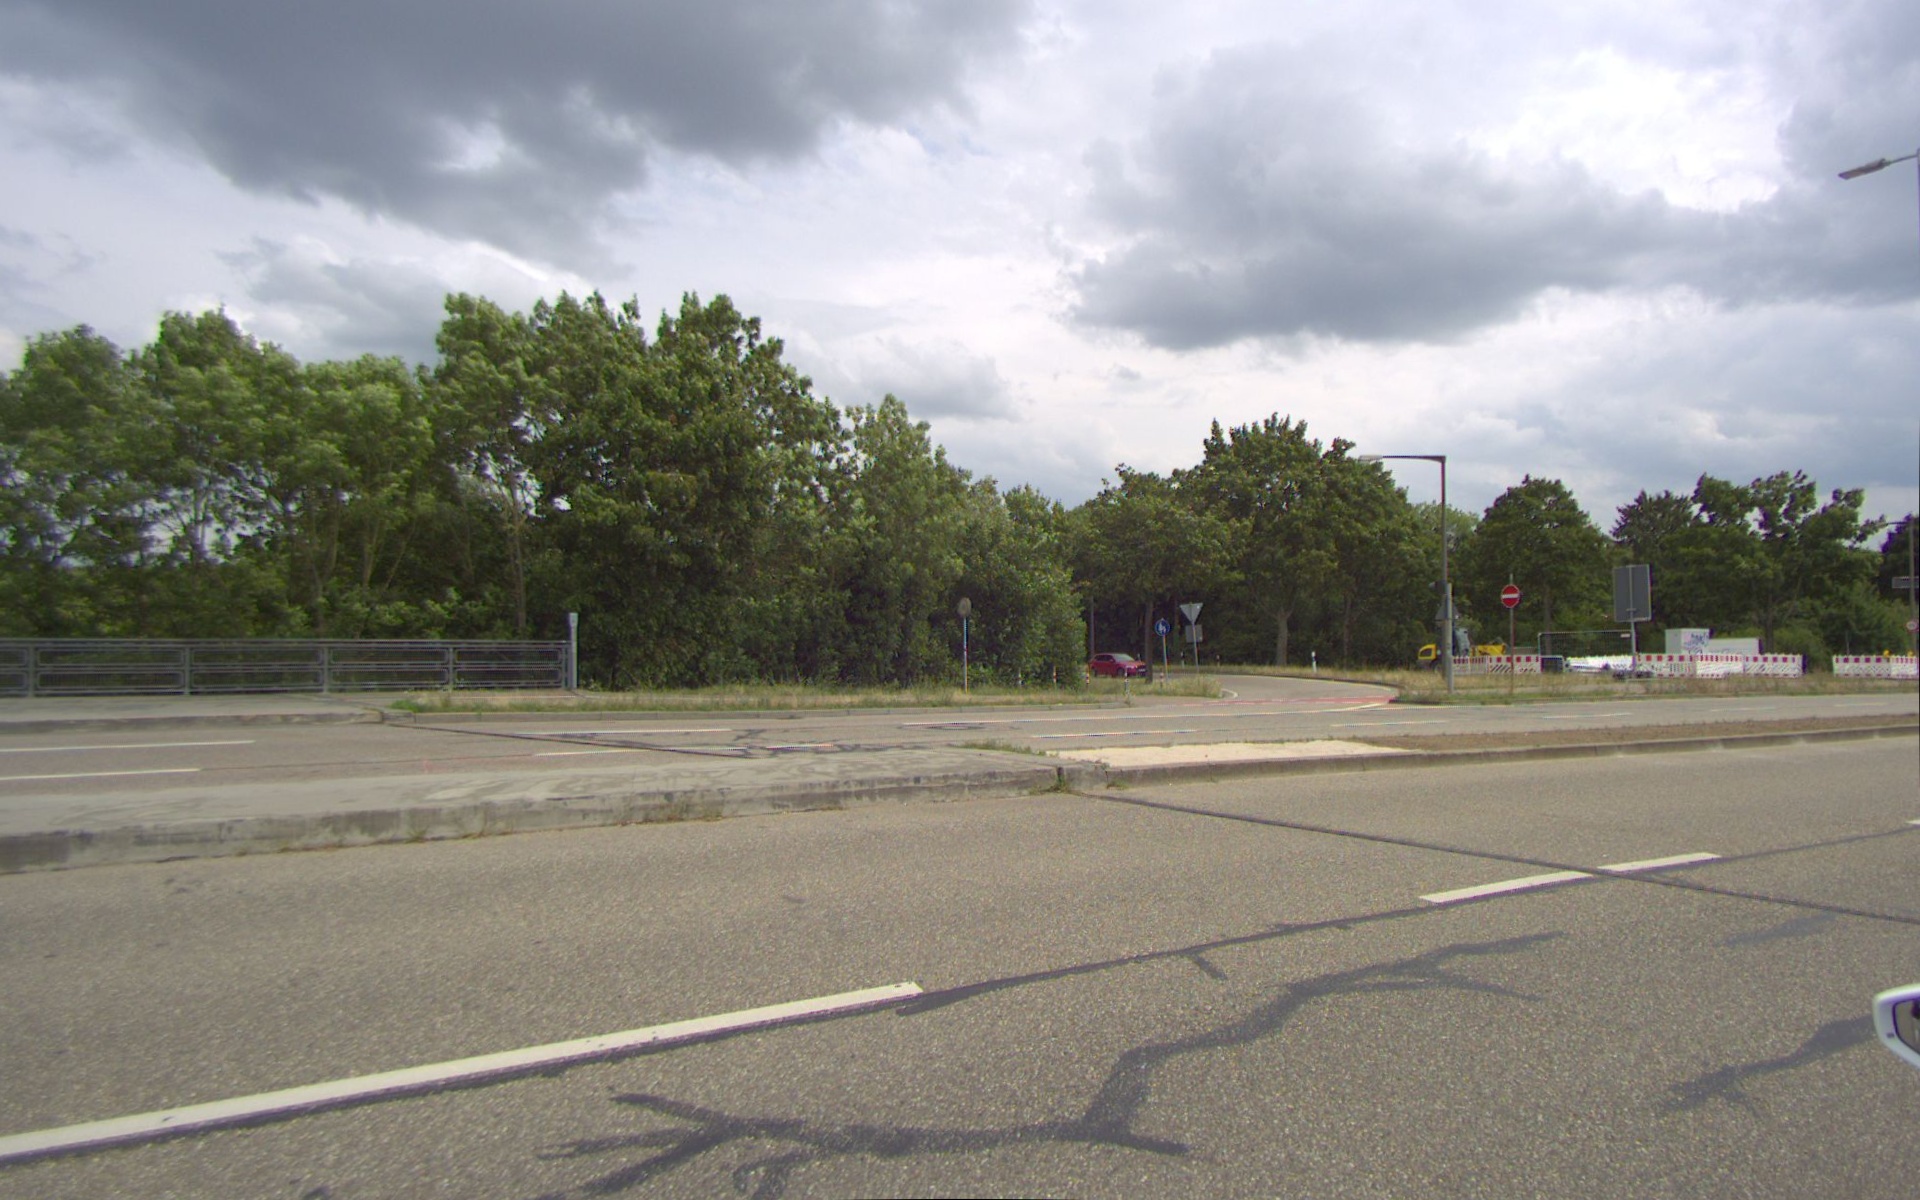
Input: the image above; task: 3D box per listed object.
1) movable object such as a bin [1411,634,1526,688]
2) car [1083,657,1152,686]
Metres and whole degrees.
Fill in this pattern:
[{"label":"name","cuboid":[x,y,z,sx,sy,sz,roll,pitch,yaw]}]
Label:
[{"label":"movable object such as a bin","cuboid":[24.524,2.878,48.588,1.982,2.429,4.543,1,-1,-38]},{"label":"car","cuboid":[8.997,4.073,57.627,1.759,1.391,4.267,0,-1,-28]}]
